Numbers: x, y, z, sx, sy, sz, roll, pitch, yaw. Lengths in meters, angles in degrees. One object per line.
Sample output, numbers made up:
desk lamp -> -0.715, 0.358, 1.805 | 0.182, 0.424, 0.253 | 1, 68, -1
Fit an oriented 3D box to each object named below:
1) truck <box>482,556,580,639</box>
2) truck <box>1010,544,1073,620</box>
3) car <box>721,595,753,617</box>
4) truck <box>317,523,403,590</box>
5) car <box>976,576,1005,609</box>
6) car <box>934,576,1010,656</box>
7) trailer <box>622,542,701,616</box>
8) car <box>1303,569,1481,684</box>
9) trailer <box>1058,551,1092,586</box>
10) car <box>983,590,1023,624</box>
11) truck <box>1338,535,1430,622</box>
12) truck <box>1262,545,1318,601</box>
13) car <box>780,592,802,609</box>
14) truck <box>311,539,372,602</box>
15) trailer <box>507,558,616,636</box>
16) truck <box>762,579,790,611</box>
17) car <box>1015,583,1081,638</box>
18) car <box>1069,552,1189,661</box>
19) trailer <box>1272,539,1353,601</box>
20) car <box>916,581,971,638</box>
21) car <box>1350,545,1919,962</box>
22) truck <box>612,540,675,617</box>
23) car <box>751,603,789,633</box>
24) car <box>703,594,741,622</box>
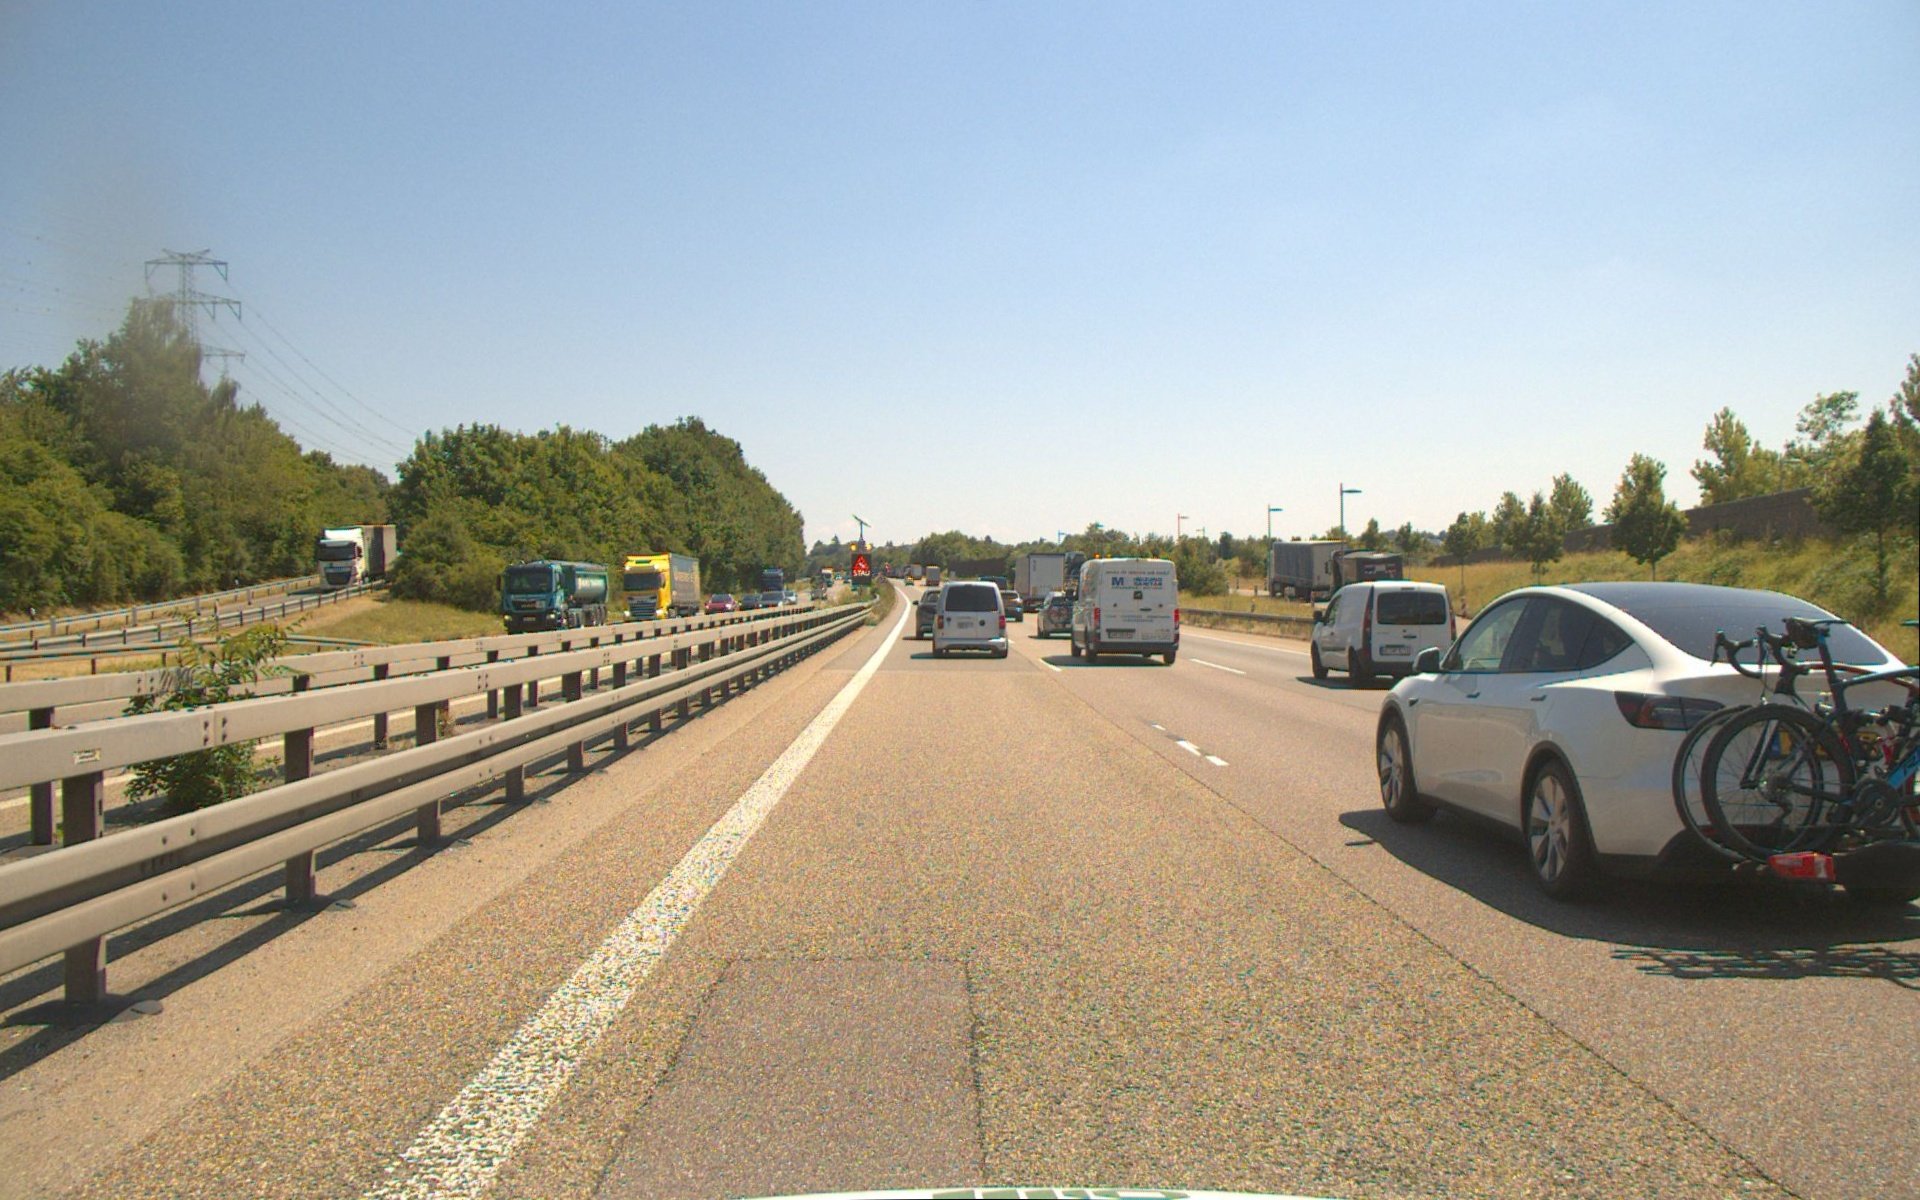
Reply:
truck -> -18.147, -0.122, 70.274 | 2.855, 3.358, 5.329 | -1, 0, -1
truck -> 5.779, -1.245, 119.338 | 3.711, 5.087, 12.517 | 1, 0, -1
car -> -16.217, 0.401, 120.512 | 1.677, 1.494, 4.146 | -2, 0, 0
truck -> -41.809, -3.153, 115.821 | 2.941, 4.416, 14.517 | -1, 2, -9
car -> 1.850, -0.450, 101.893 | 1.640, 1.925, 4.088 | -1, 0, -1
car -> 0.255, 0.358, 39.909 | 1.709, 1.795, 4.088 | -1, 0, -1
trailer -> -18.910, -1.280, 105.615 | 3.111, 4.417, 13.805 | -1, 0, -3
car -> 7.630, 0.436, 29.626 | 1.911, 1.870, 4.176 | -1, 0, -3
trailer -> 15.470, -4.126, 224.216 | 2.553, 4.332, 18.414 | 1, 0, -2
car -> 2.185, 0.347, 84.228 | 1.863, 1.701, 4.088 | -1, 0, -1
truck -> 21.884, -1.040, 86.128 | 3.707, 4.154, 12.529 | 1, 0, 10
truck -> 25.219, -2.010, 126.695 | 2.989, 4.154, 6.398 | 1, 0, 1
car -> -16.344, 0.045, 159.749 | 1.746, 1.557, 3.882 | -3, 0, -2
truck -> -40.582, -1.980, 108.661 | 2.890, 3.963, 4.315 | -1, 2, -10
trailer -> -18.294, -0.143, 76.671 | 2.855, 3.358, 9.708 | -1, 0, -1
truck -> -21.302, -0.628, 191.528 | 2.935, 3.621, 3.117 | -1, 0, -2
car -> 2.930, 0.331, 55.945 | 1.936, 1.763, 4.088 | -1, 0, -1
car -> 3.794, 0.138, 38.032 | 2.137, 2.293, 5.362 | 1, 0, -1
trailer -> 25.096, -2.011, 118.636 | 2.989, 4.154, 14.259 | 1, 0, 1
car -> -0.521, 0.294, 53.631 | 1.709, 1.731, 4.088 | -1, 0, 0
car -> 3.927, 0.625, 9.481 | 1.911, 1.665, 5.599 | 1, 0, -2
truck -> -18.531, -1.233, 96.972 | 3.111, 4.417, 3.511 | -1, 0, -3
car -> -10.745, 0.993, 93.678 | 1.746, 1.653, 3.999 | -1, 0, -1
car -> -14.282, 0.449, 99.436 | 1.746, 1.557, 4.383 | -3, 0, -2
